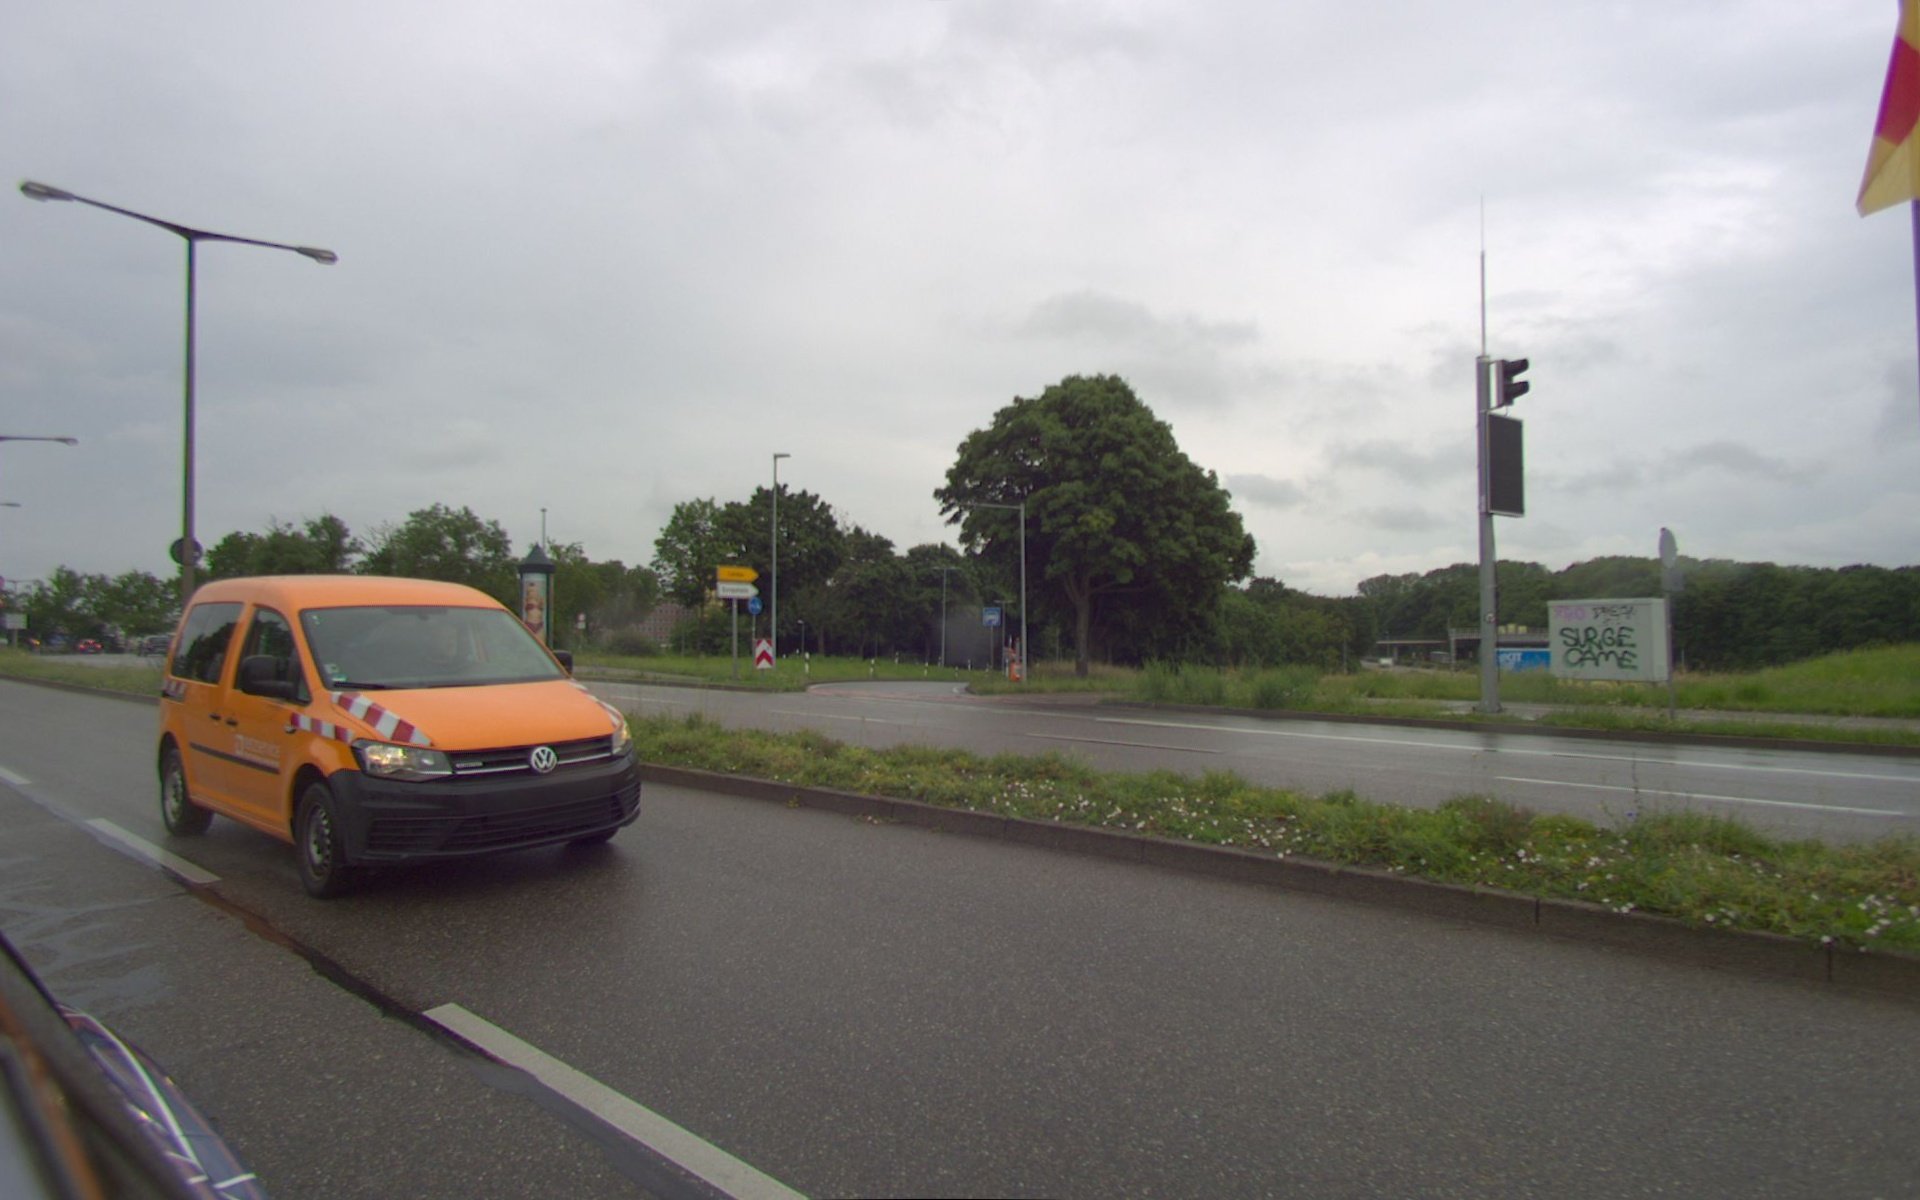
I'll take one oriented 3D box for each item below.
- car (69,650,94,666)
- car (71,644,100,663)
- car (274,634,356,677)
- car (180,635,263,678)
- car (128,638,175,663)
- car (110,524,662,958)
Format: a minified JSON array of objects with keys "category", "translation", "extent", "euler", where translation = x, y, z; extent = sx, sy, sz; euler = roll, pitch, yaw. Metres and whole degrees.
[{"category":"car","translation":[-101.215,6.653,116.613],"extent":[4.033,1.764,1.825],"euler":[-2,-1,44]},{"category":"car","translation":[-85.988,5.266,99.454],"extent":[4.033,1.764,1.825],"euler":[-2,-1,44]},{"category":"car","translation":[-28.303,2.393,44.369],"extent":[4.026,1.764,1.827],"euler":[-2,-1,39]},{"category":"car","translation":[-30.585,2.284,41.879],"extent":[4.026,1.634,1.827],"euler":[-2,-1,39]},{"category":"car","translation":[-55.119,3.423,68.977],"extent":[4.030,1.533,1.826],"euler":[-2,-1,42]},{"category":"car","translation":[-4.203,0.712,6.973],"extent":[4.845,2.034,1.717],"euler":[-2,-1,40]}]
